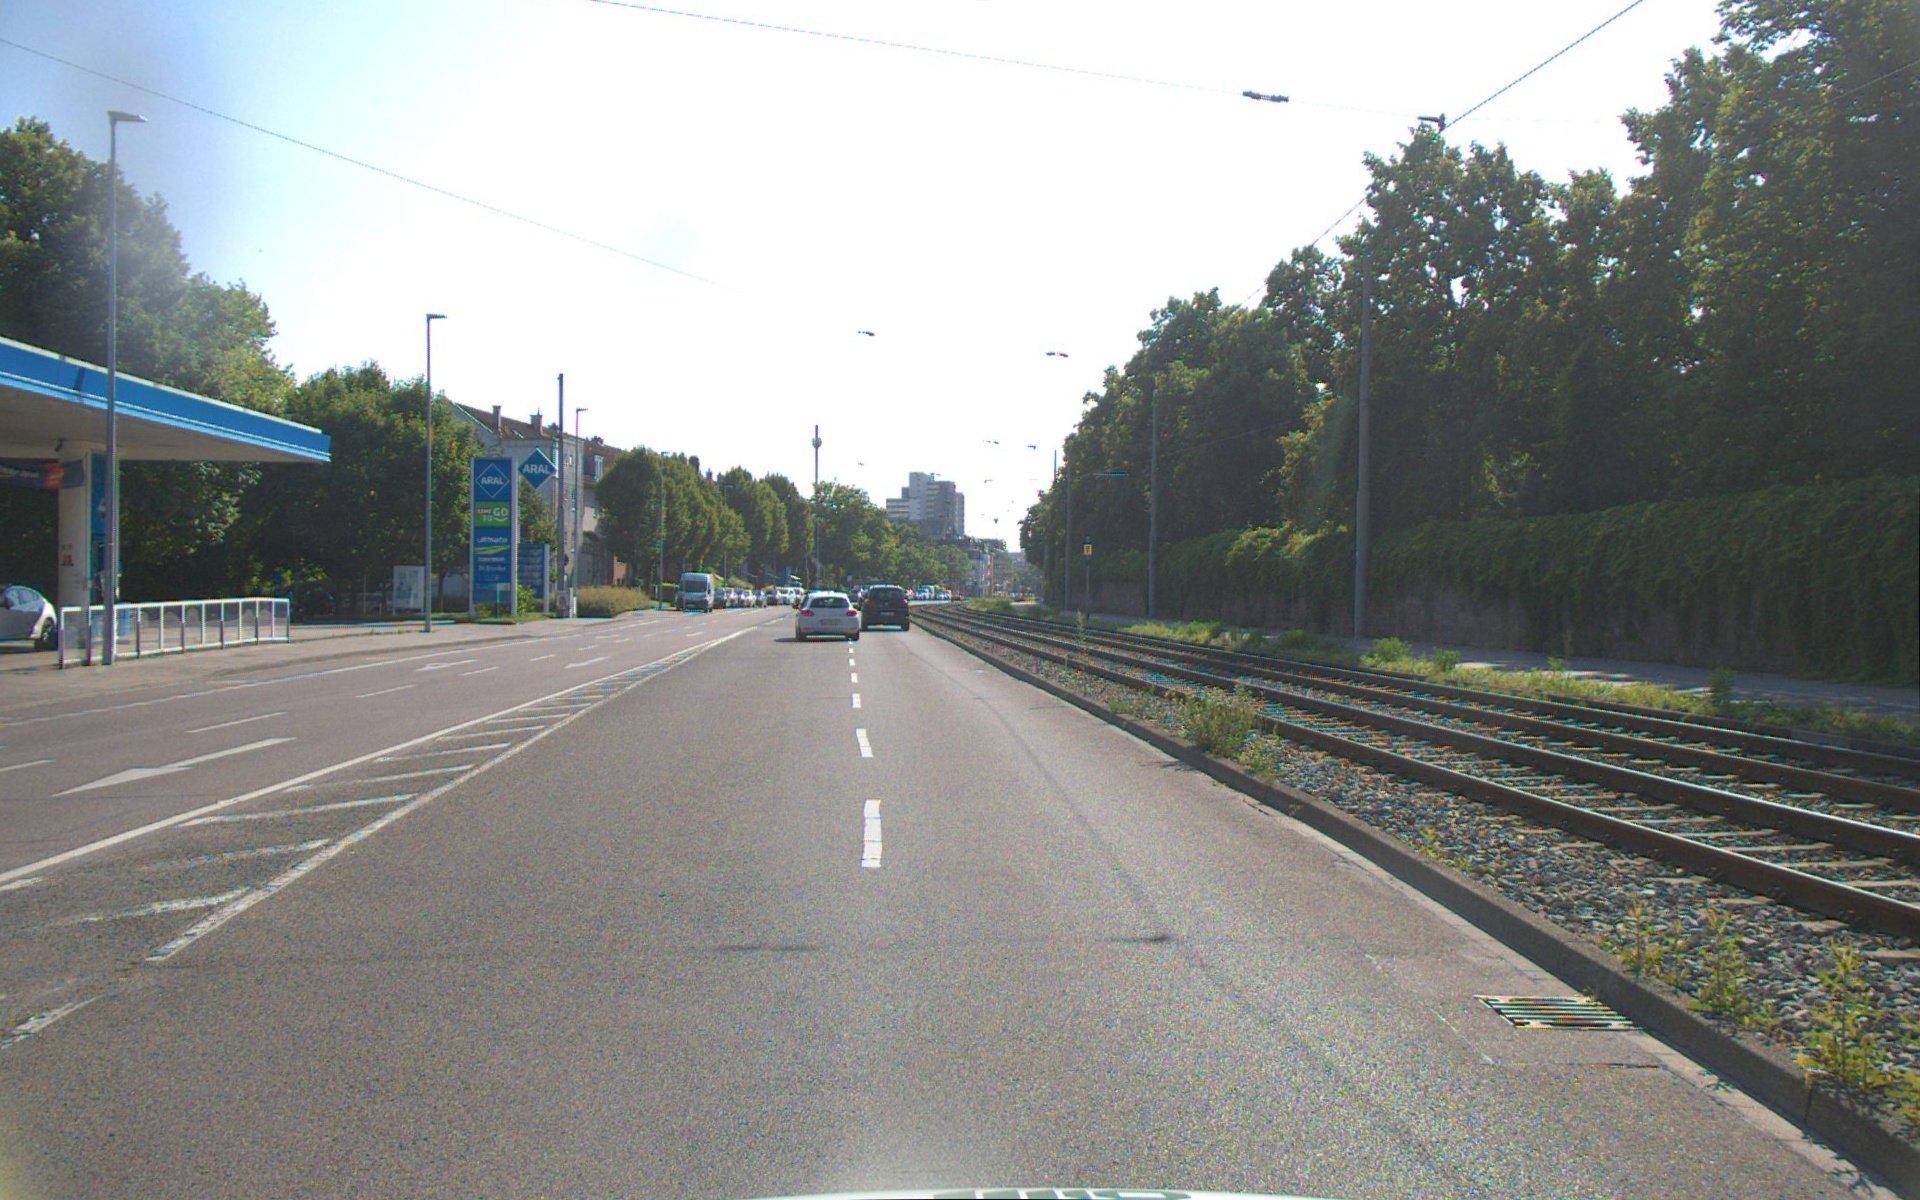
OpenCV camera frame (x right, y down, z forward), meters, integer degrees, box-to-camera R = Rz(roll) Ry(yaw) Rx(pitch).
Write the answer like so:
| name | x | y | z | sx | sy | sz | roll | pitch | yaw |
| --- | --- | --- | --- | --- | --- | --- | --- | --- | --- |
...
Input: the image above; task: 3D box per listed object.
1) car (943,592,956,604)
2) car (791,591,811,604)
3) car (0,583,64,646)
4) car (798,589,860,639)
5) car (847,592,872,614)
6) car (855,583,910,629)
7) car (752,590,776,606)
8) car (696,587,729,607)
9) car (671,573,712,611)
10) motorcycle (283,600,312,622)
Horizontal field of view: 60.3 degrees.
| name | x | y | z | sx | sy | sz | roll | pitch | yaw |
| --- | --- | --- | --- | --- | --- | --- | --- | --- | --- |
| car | -1.484 | -0.354 | 233.052 | 1.688 | 1.620 | 3.602 | 2 | 0 | 2 |
| car | -17.187 | -0.271 | 178.701 | 1.953 | 1.441 | 3.842 | 0 | 1 | -2 |
| car | -22.563 | 0.324 | 38.272 | 1.710 | 1.418 | 4.116 | 0 | 1 | -5 |
| car | -3.875 | 0.390 | 49.168 | 1.746 | 1.380 | 3.598 | 2 | 0 | -4 |
| car | -7.403 | 0.213 | 121.935 | 1.714 | 1.511 | 3.598 | 2 | 0 | -4 |
| car | -2.935 | 0.214 | 62.179 | 1.692 | 1.620 | 3.595 | 2 | 0 | -8 |
| car | -18.583 | -0.182 | 157.228 | 1.953 | 1.441 | 3.842 | 0 | 1 | -2 |
| car | -18.373 | -0.260 | 122.766 | 1.953 | 1.441 | 3.842 | 0 | 1 | -2 |
| car | -17.428 | -0.509 | 107.575 | 1.953 | 2.418 | 4.538 | 0 | 0 | -1 |
| motorcycle | -28.439 | 0.484 | 70.981 | 0.657 | 0.917 | 1.670 | 0 | 0 | -4 |
